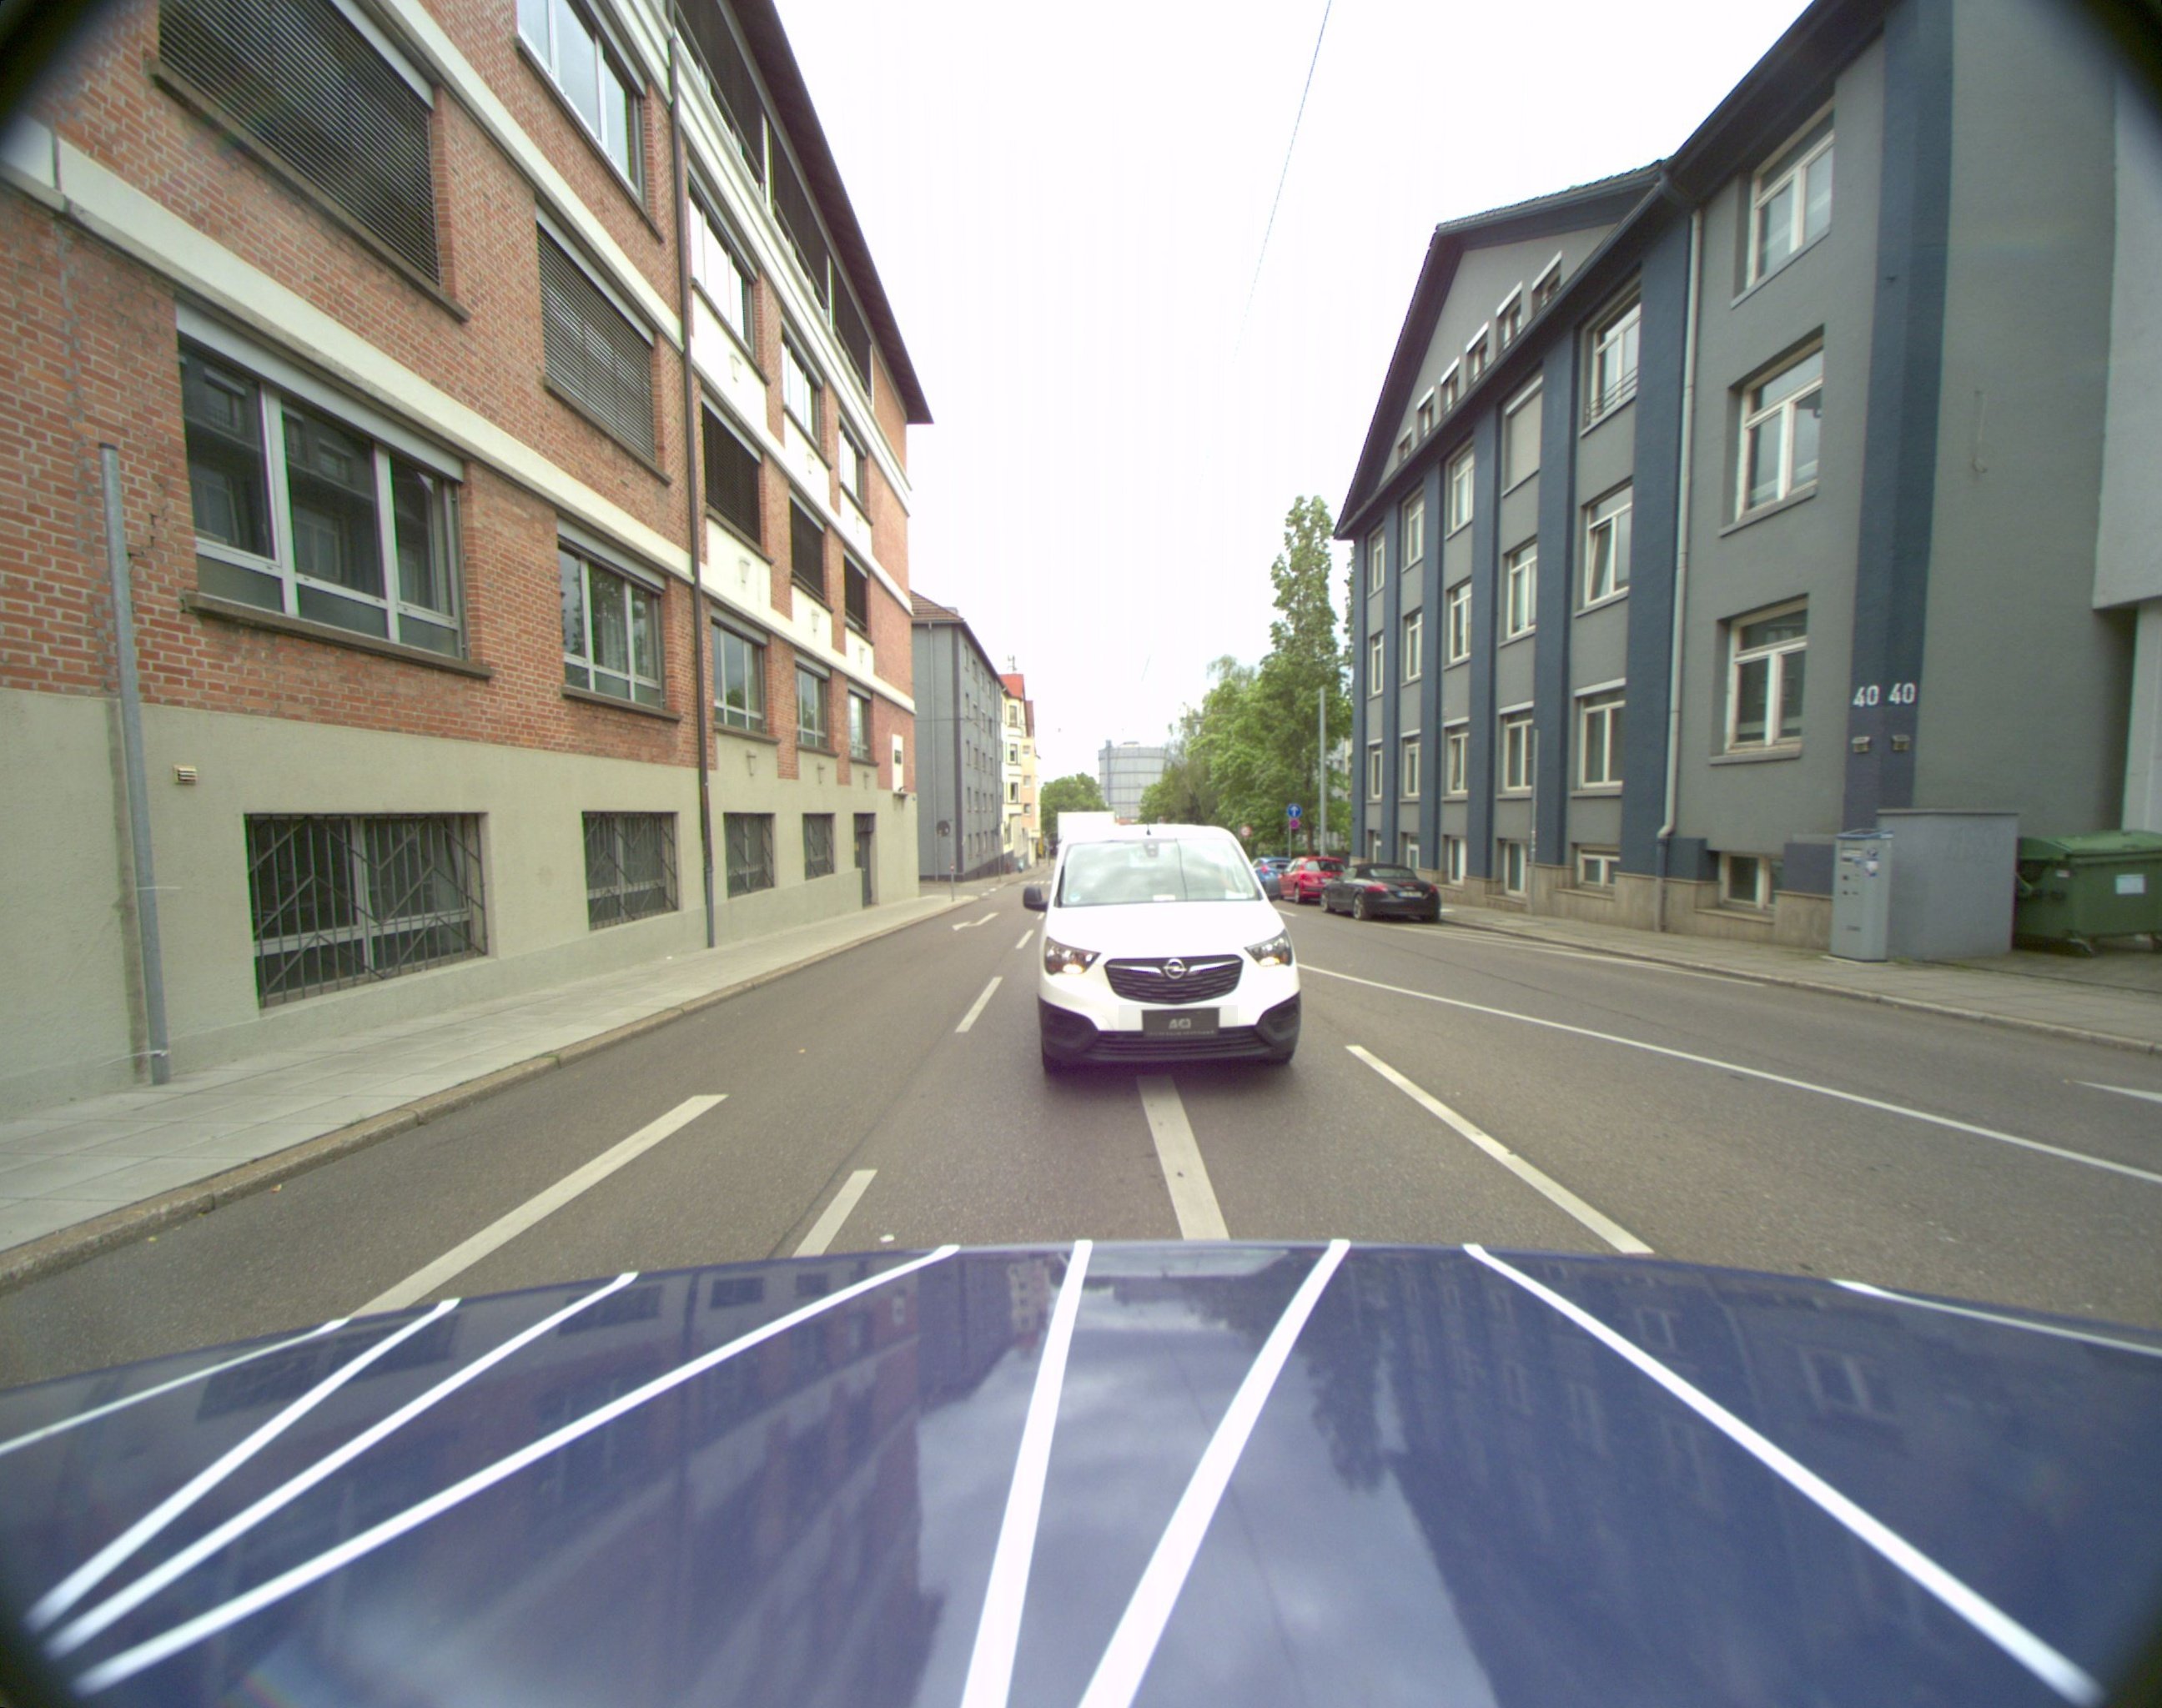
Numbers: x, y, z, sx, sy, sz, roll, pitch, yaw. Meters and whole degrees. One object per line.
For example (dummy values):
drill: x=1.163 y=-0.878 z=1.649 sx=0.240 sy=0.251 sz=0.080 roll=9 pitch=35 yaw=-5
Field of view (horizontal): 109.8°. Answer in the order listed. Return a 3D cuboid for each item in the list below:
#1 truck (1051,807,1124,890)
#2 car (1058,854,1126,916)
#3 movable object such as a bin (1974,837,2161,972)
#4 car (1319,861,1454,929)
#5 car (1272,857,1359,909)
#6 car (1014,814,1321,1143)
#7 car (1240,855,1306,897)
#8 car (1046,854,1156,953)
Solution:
truck: x=0.350 y=-0.272 z=36.670 sx=2.969 sy=3.409 sz=8.879 roll=-2 pitch=1 yaw=1
car: x=0.313 y=0.819 z=21.897 sx=1.739 sy=1.519 sz=3.999 roll=-2 pitch=1 yaw=1
movable object such as a bin: x=12.067 y=0.573 z=9.213 sx=1.229 sy=1.498 sz=1.040 roll=-2 pitch=1 yaw=1
car: x=7.240 y=0.915 z=18.415 sx=1.801 sy=1.384 sz=3.729 roll=0 pitch=1 yaw=1
car: x=7.419 y=0.867 z=24.357 sx=1.644 sy=1.441 sz=3.729 roll=-2 pitch=1 yaw=1
car: x=0.537 y=0.714 z=6.461 sx=1.739 sy=1.875 sz=3.999 roll=-2 pitch=1 yaw=1
car: x=7.468 y=0.806 z=29.834 sx=1.644 sy=1.441 sz=3.729 roll=-2 pitch=1 yaw=1
car: x=0.352 y=0.810 z=14.405 sx=1.739 sy=1.519 sz=3.999 roll=-2 pitch=1 yaw=1
